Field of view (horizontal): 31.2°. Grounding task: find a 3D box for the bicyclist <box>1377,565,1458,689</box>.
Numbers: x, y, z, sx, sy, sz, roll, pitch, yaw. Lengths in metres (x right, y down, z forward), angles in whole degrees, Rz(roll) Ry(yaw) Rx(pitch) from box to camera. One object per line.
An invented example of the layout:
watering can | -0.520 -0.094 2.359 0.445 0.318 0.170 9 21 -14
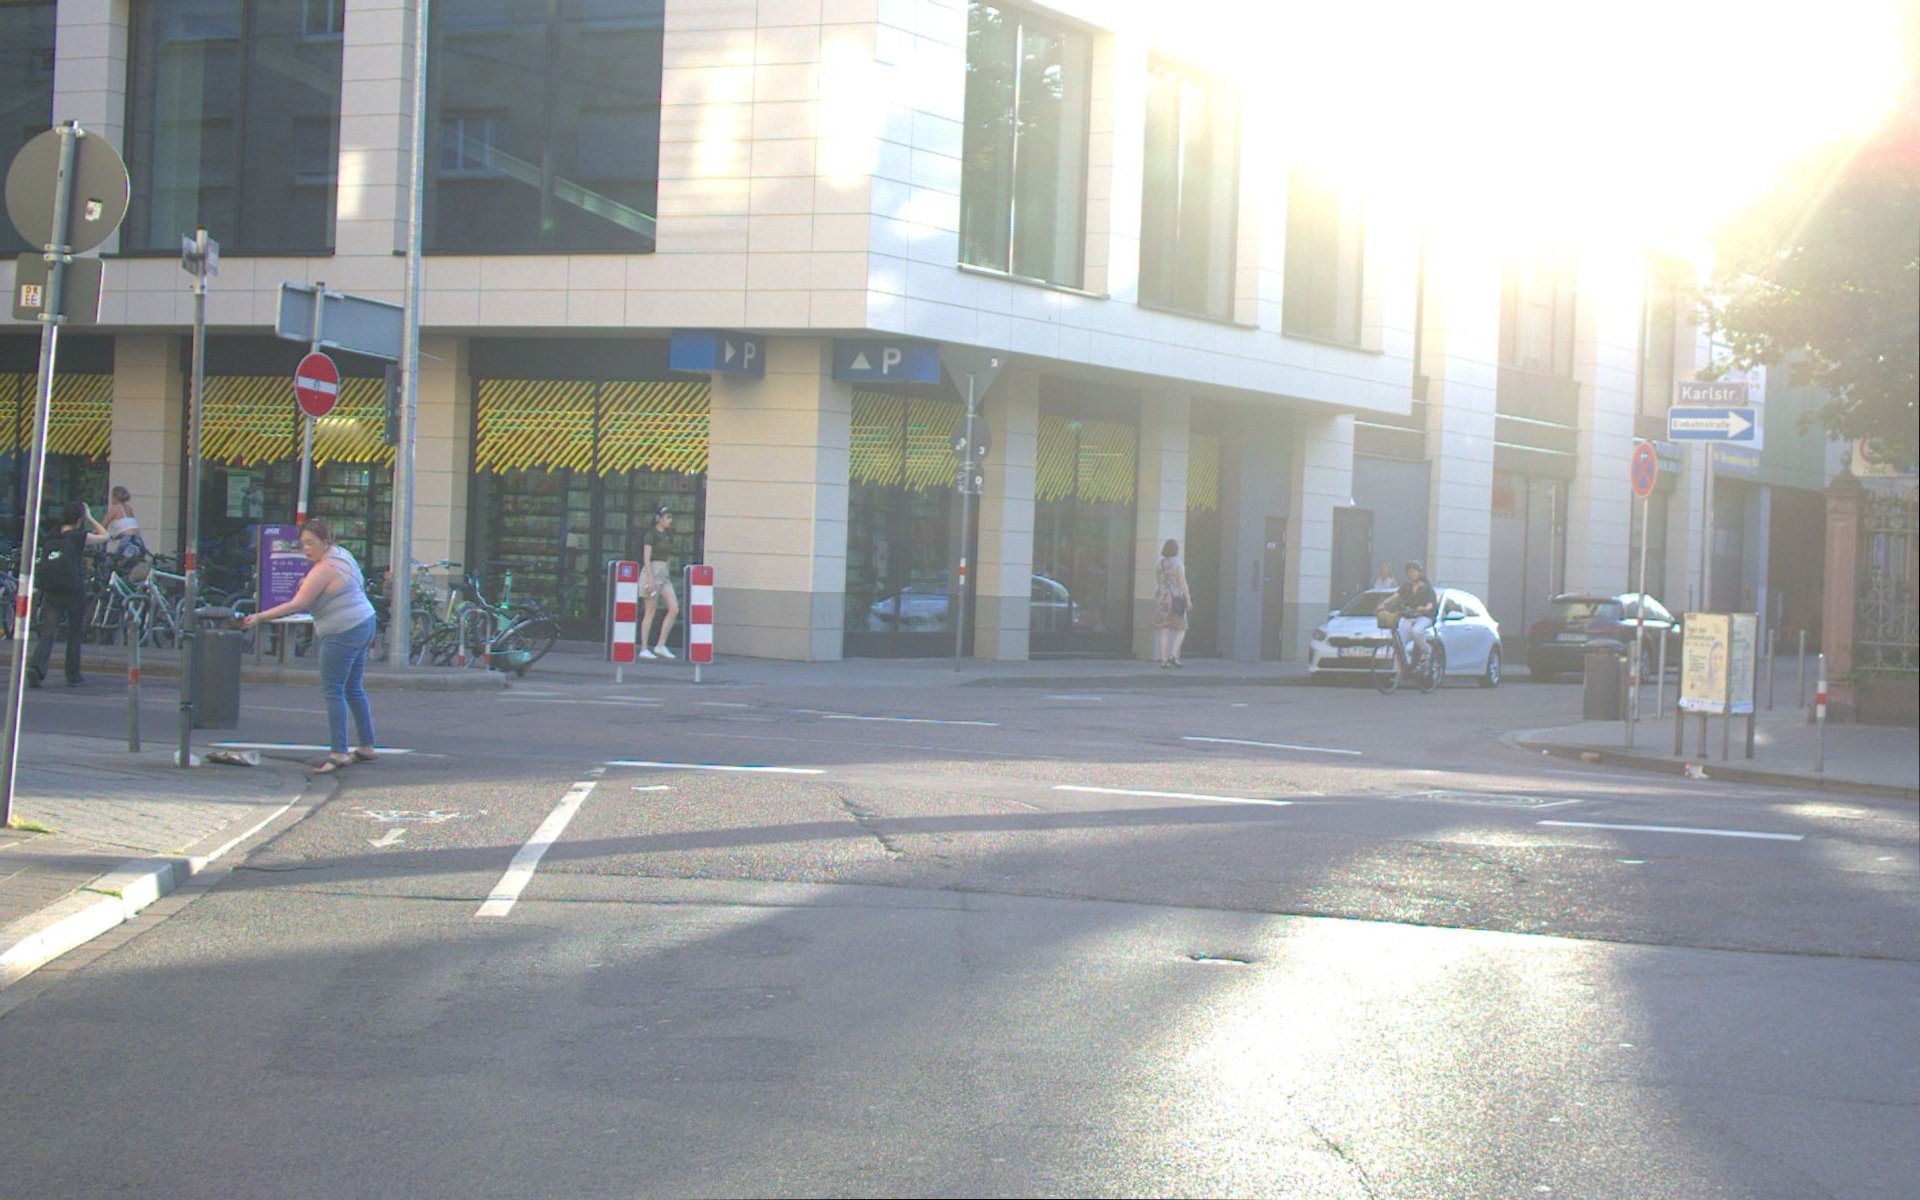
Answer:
bicyclist | 5.962 0.349 44.747 0.659 1.565 0.861 3 0 33

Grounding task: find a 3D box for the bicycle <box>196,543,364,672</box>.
bicycle | -6.879 0.090 34.866 0.512 1.250 1.976 3 0 26

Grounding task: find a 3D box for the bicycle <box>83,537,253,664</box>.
bicycle | -8.159 0.017 35.508 0.512 1.250 1.976 3 0 26

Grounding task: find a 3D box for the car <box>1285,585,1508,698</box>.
car | 6.227 0.579 48.686 1.780 1.448 4.224 3 1 27

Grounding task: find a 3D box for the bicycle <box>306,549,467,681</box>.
bicycle | -5.684 0.158 34.178 0.512 1.250 1.976 3 0 24

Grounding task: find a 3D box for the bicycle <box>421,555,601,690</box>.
bicycle | -4.377 0.231 33.656 0.665 1.250 2.138 3 0 24

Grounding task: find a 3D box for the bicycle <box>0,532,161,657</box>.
bicycle | -9.275 -0.047 36.149 0.512 1.250 1.976 3 0 26

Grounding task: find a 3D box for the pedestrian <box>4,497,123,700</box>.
pedestrian | -7.542 -0.015 28.918 0.869 1.652 0.619 3 0 -17

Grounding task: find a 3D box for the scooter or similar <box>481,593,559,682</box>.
scooter or similar | -4.508 0.387 35.261 0.387 0.881 0.769 3 0 26

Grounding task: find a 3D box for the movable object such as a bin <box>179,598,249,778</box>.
movable object such as a bin | -4.505 0.527 20.761 0.359 1.060 0.356 2 0 -14

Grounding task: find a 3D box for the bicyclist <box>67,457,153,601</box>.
bicyclist | -10.224 -0.849 41.379 0.643 1.689 0.683 3 1 28

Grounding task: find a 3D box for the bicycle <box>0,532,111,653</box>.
bicycle | -9.917 -0.084 36.571 0.512 1.250 1.976 3 0 26

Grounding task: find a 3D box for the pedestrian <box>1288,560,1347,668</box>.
pedestrian | 5.678 0.216 54.564 0.673 1.669 0.646 3 1 26

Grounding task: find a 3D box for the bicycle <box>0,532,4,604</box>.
bicycle | -11.253 -0.159 37.174 0.512 1.250 1.976 3 0 26

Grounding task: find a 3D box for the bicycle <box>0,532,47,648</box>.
bicycle | -10.687 -0.127 36.896 0.512 1.250 1.976 3 0 25

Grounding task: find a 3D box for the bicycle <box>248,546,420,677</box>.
bicycle | -6.248 0.126 34.441 0.512 1.250 1.976 3 0 28

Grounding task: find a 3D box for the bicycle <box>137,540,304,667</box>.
bicycle | -7.565 0.051 35.251 0.512 1.250 1.976 3 0 25

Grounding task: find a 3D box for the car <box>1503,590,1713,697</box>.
car | 10.716 0.707 56.570 1.887 1.592 4.681 3 1 30

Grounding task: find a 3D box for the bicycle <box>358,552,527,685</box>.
bicycle | -5.089 0.191 33.945 0.581 1.250 2.041 3 0 24

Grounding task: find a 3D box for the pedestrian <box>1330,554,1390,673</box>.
pedestrian | 6.315 0.212 54.260 0.673 1.830 0.646 3 1 26

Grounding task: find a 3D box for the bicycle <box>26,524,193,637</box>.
bicycle | -10.246 -0.240 41.403 1.975 1.250 0.611 3 0 27

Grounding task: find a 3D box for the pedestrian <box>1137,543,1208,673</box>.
pedestrian | 2.899 0.108 46.871 0.673 1.738 0.646 3 0 28

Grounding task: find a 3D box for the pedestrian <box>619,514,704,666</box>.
pedestrian | -3.447 -0.119 39.682 0.635 1.717 0.845 2 1 -27

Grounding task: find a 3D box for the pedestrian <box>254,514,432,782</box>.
pedestrian | -3.819 0.292 21.274 0.802 1.607 0.735 2 0 -32

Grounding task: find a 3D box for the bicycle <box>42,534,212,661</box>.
bicycle | -8.652 -0.011 35.797 0.512 1.250 1.976 3 0 26

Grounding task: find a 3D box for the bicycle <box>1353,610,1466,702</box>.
bicycle | 5.852 0.740 44.643 0.665 1.134 1.818 3 0 34
